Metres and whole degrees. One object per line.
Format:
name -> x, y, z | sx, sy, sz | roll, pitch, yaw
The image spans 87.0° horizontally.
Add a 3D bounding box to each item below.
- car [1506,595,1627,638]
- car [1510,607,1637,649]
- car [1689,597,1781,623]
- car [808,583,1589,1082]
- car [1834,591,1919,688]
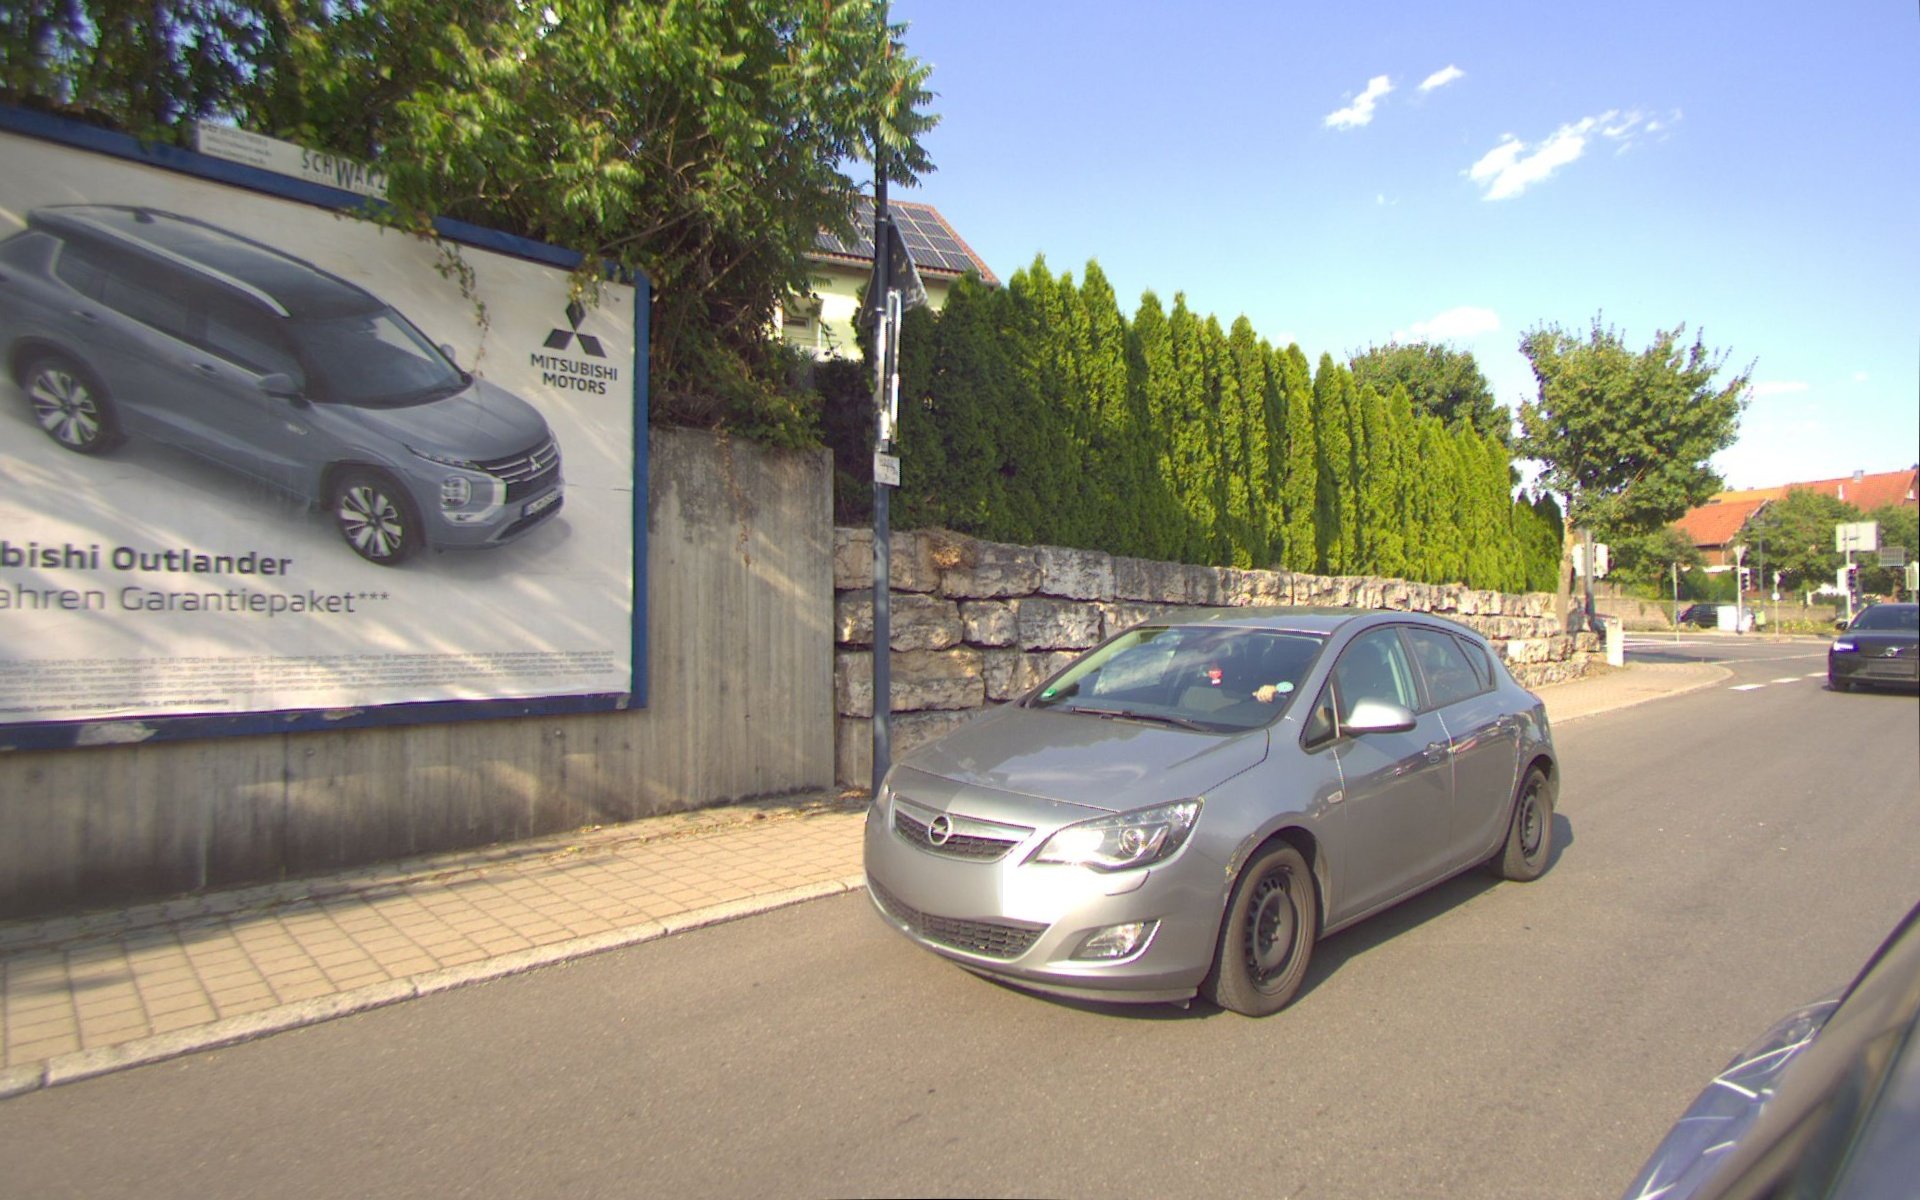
car -> 23.416, 0.600, 39.125 | 3.786, 1.561, 1.573 | 0, 0, 44
car -> 25.745, 1.128, 42.550 | 1.831, 1.646, 4.242 | 1, -1, -44
car -> 46.423, 0.595, 60.710 | 1.644, 1.475, 4.086 | 1, -1, -26
car -> 1.445, 0.699, 4.937 | 4.071, 1.440, 1.650 | 1, 0, -41
car -> 17.496, 0.684, 18.367 | 3.983, 1.626, 1.791 | 1, -1, -39
